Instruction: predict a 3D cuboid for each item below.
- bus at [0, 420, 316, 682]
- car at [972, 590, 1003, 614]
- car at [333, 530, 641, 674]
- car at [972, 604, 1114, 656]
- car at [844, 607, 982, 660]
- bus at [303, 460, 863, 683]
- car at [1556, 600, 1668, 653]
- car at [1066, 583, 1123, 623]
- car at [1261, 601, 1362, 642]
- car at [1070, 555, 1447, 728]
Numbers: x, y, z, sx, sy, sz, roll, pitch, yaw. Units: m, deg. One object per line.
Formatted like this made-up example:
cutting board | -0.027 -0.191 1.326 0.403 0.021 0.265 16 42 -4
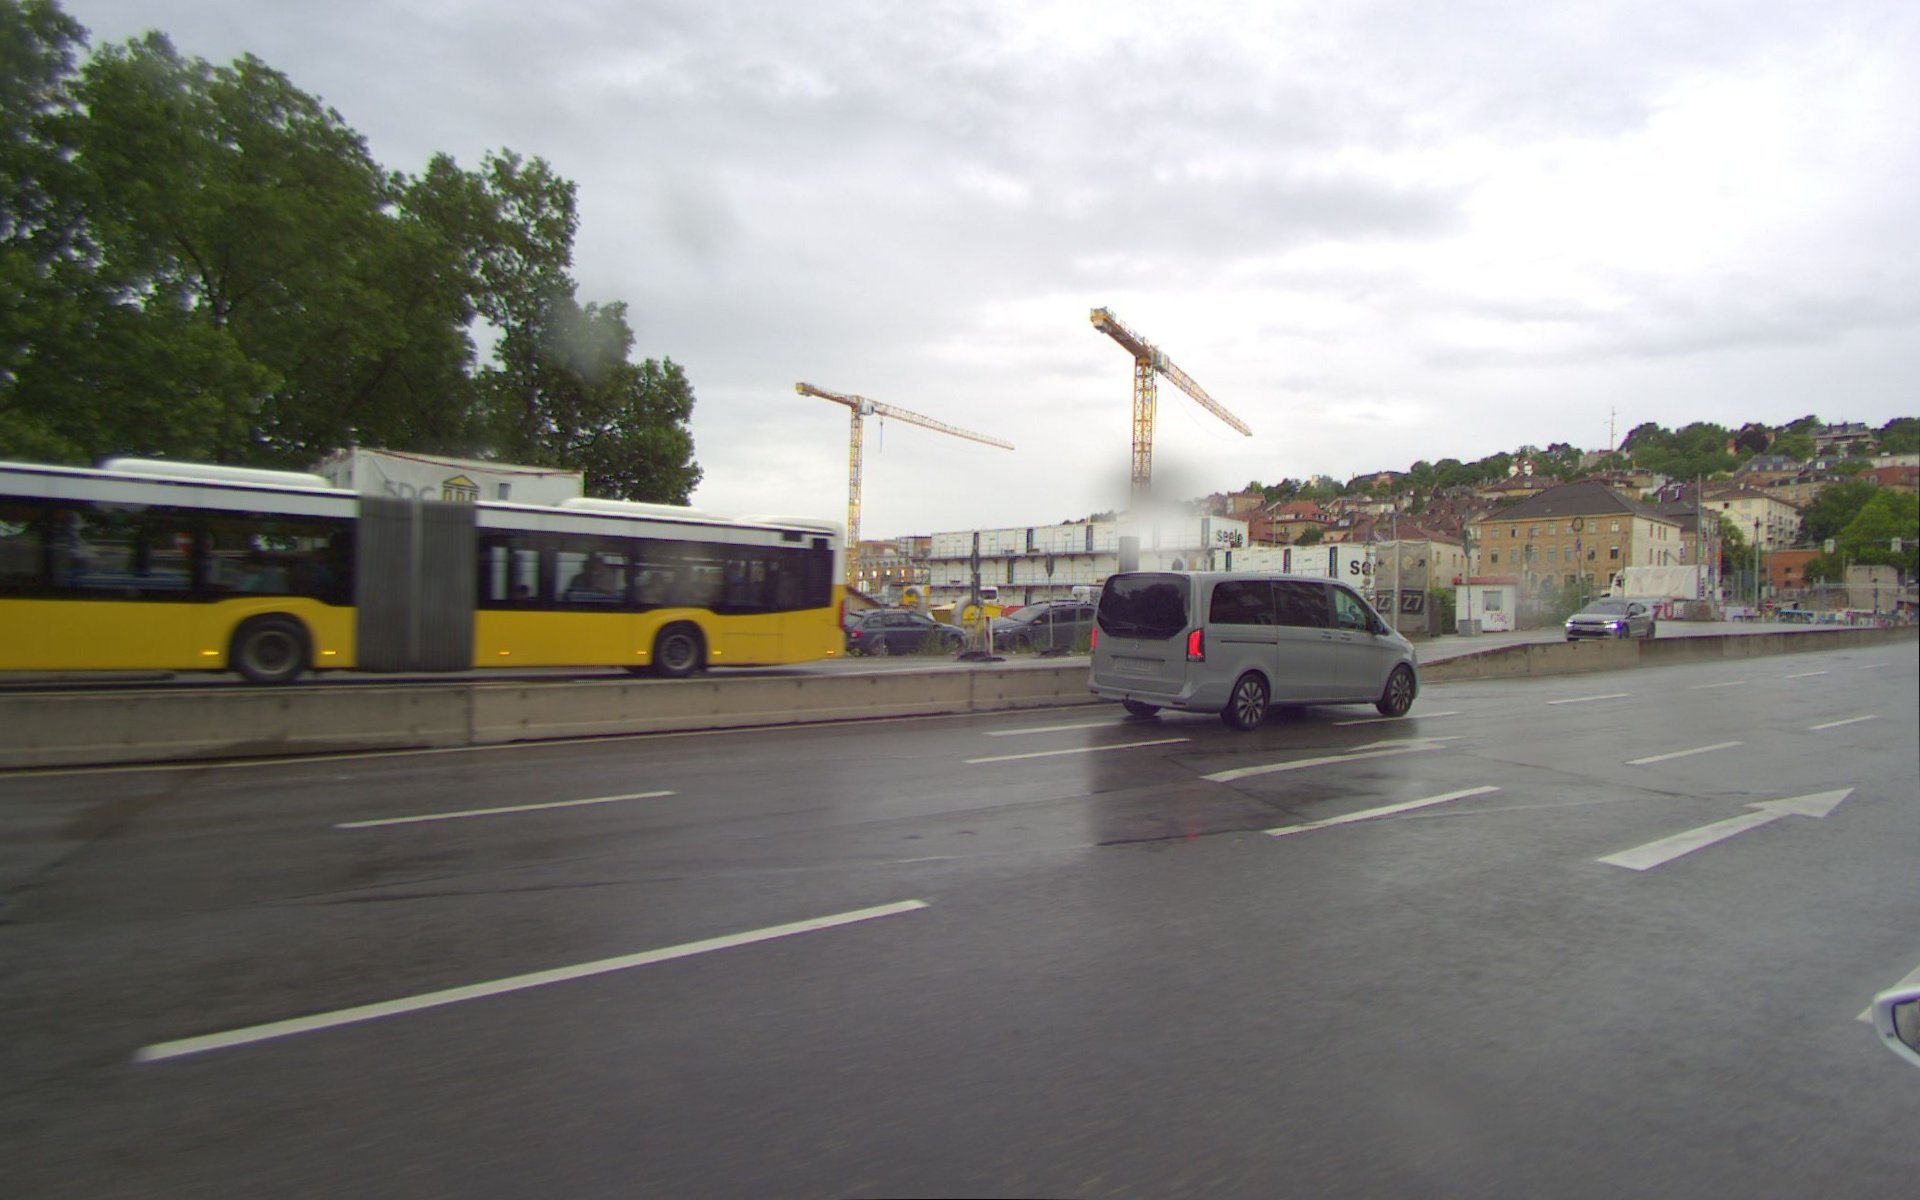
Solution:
bus | -13.548 -0.625 12.838 8.726 3.226 2.786 2 -2 -37
car | 2.385 0.192 87.612 1.963 2.052 5.307 1 -1 -7
car | -10.614 0.112 23.039 5.943 2.913 1.997 2 -2 -10
car | 2.858 1.056 34.441 4.623 1.586 1.755 3 -3 -27
car | -1.472 1.041 32.045 4.132 1.586 1.751 1 -1 -34
bus | -6.355 -0.245 18.138 9.063 3.193 2.684 2 -2 -36
car | 24.728 1.023 38.020 5.252 1.778 1.978 4 -3 -38
car | 10.600 0.301 78.722 1.969 2.867 5.292 0 -3 38
car | 14.500 0.865 41.403 3.957 1.643 1.982 0 0 -33
car | 4.091 0.530 13.259 5.308 1.881 1.979 3 0 -37
